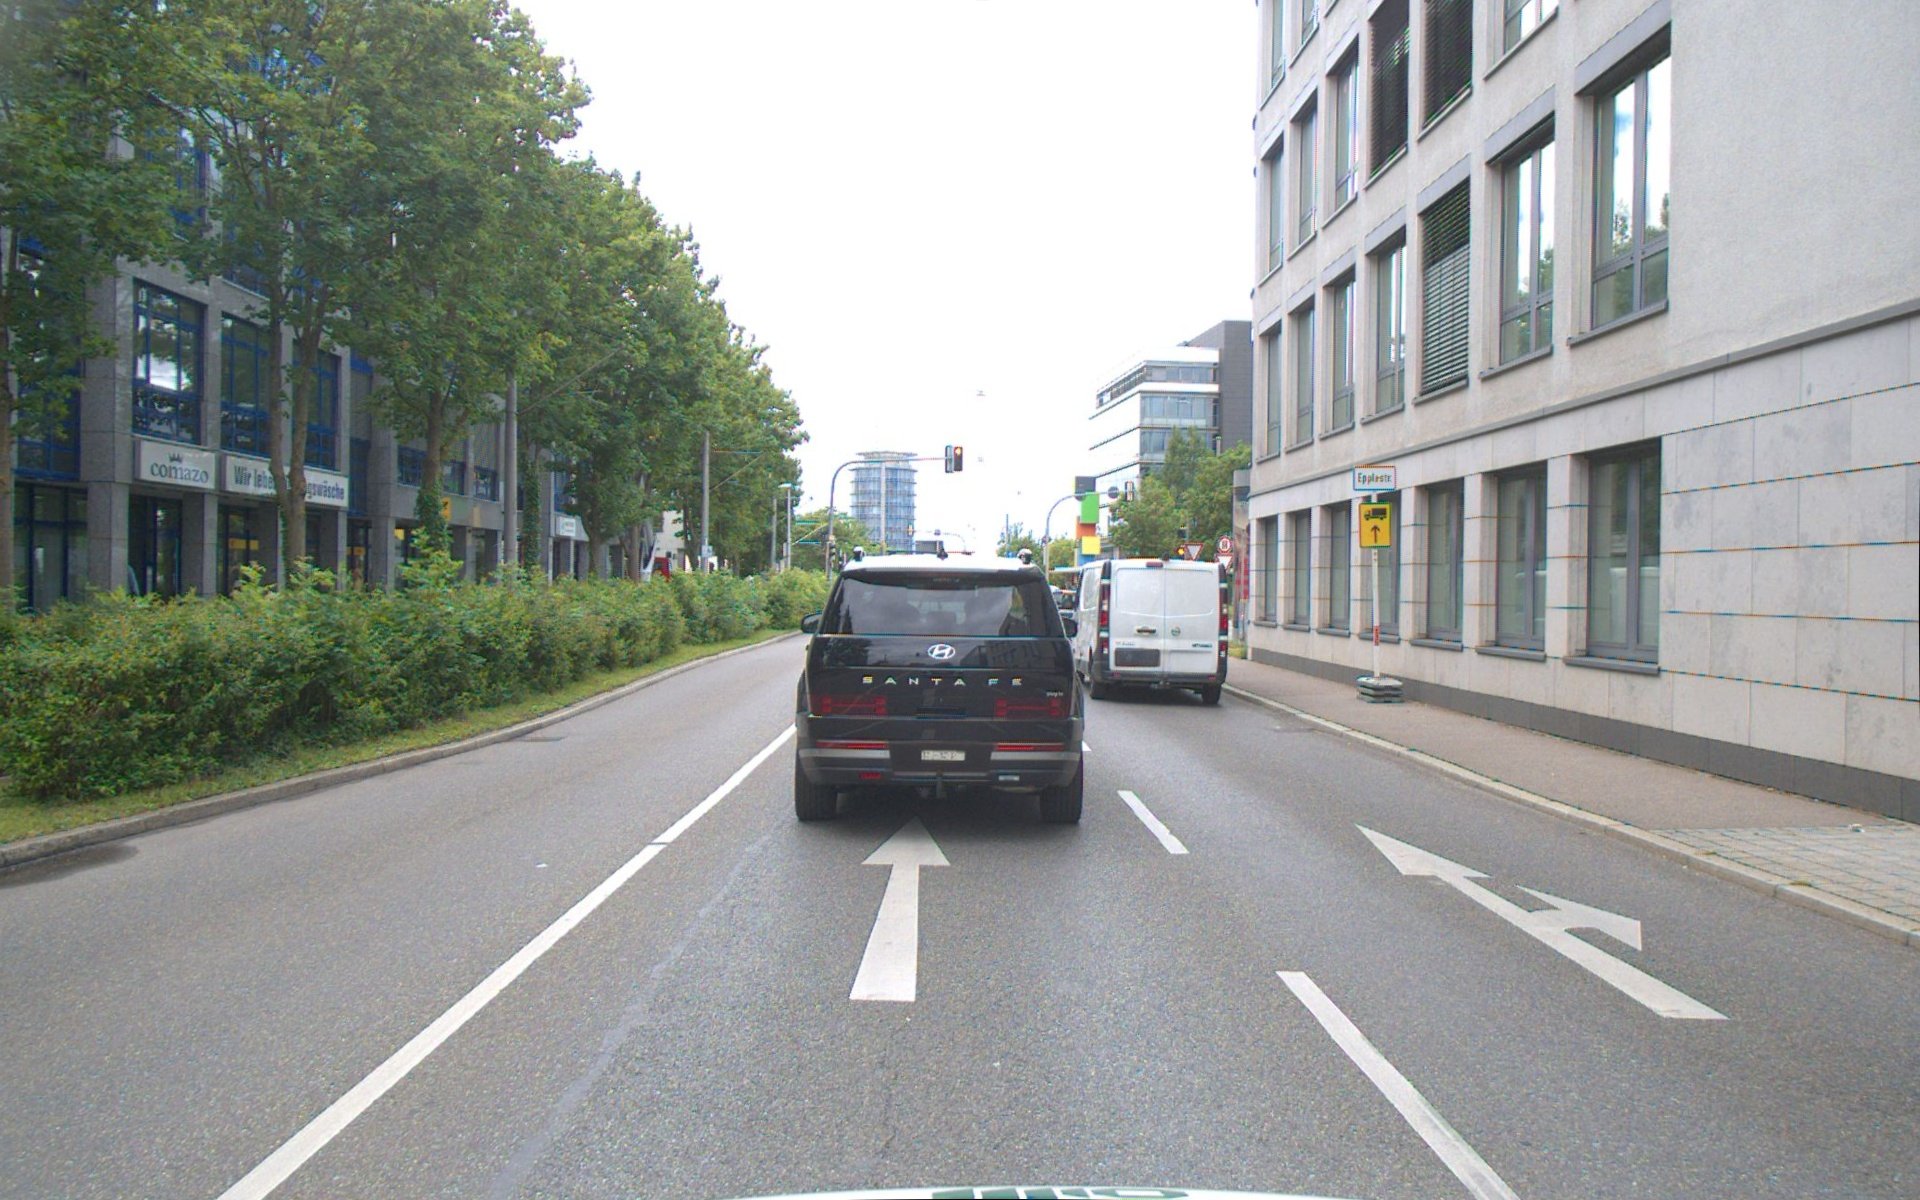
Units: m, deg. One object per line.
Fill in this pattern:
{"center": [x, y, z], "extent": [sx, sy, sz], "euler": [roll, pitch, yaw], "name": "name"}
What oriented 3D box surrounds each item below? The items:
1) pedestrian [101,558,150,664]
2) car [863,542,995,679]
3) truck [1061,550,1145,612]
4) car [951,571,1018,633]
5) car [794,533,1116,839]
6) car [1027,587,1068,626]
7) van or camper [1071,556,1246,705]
{"center": [-16.303, 0.221, 32.308], "extent": [0.667, 2.049, 0.570], "euler": [0, 0, -1], "name": "pedestrian"}
{"center": [-0.600, 0.143, 26.954], "extent": [1.894, 2.029, 4.531], "euler": [0, 0, -4], "name": "car"}
{"center": [6.636, -0.884, 77.400], "extent": [2.289, 2.796, 6.471], "euler": [0, 0, -10], "name": "truck"}
{"center": [0.724, 0.048, 51.528], "extent": [1.953, 1.821, 4.000], "euler": [1, 0, -1], "name": "car"}
{"center": [-0.163, 0.505, 11.885], "extent": [1.871, 1.780, 4.393], "euler": [1, 0, -4], "name": "car"}
{"center": [3.821, 0.251, 72.811], "extent": [1.723, 1.637, 4.189], "euler": [0, 0, 2], "name": "car"}
{"center": [2.804, 0.383, 24.295], "extent": [1.953, 1.949, 4.331], "euler": [1, 0, -1], "name": "van or camper"}
